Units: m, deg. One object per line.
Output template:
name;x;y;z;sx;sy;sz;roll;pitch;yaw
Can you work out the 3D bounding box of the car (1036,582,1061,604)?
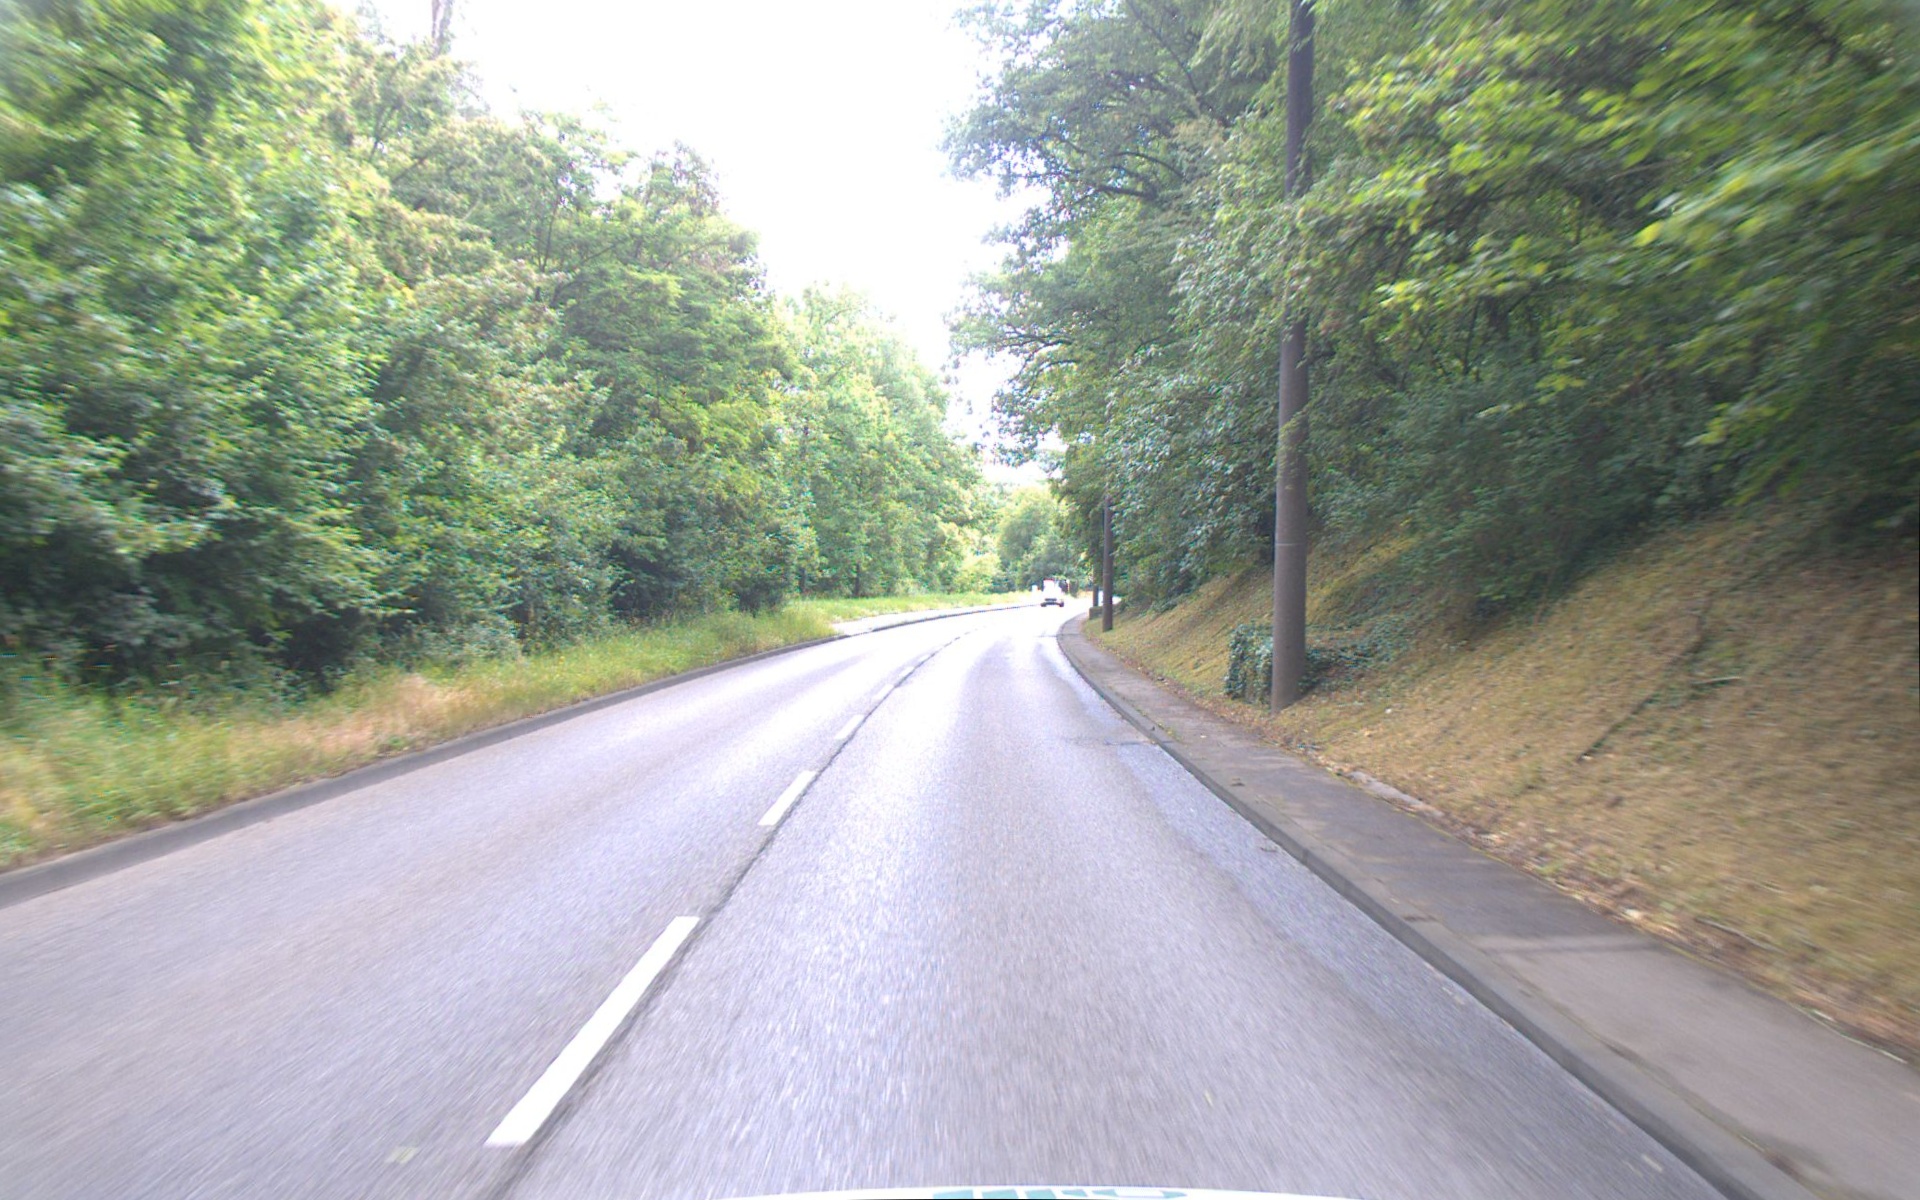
car;7.611;-0.582;141.814;1.951;1.784;4.784;1;-1;4
